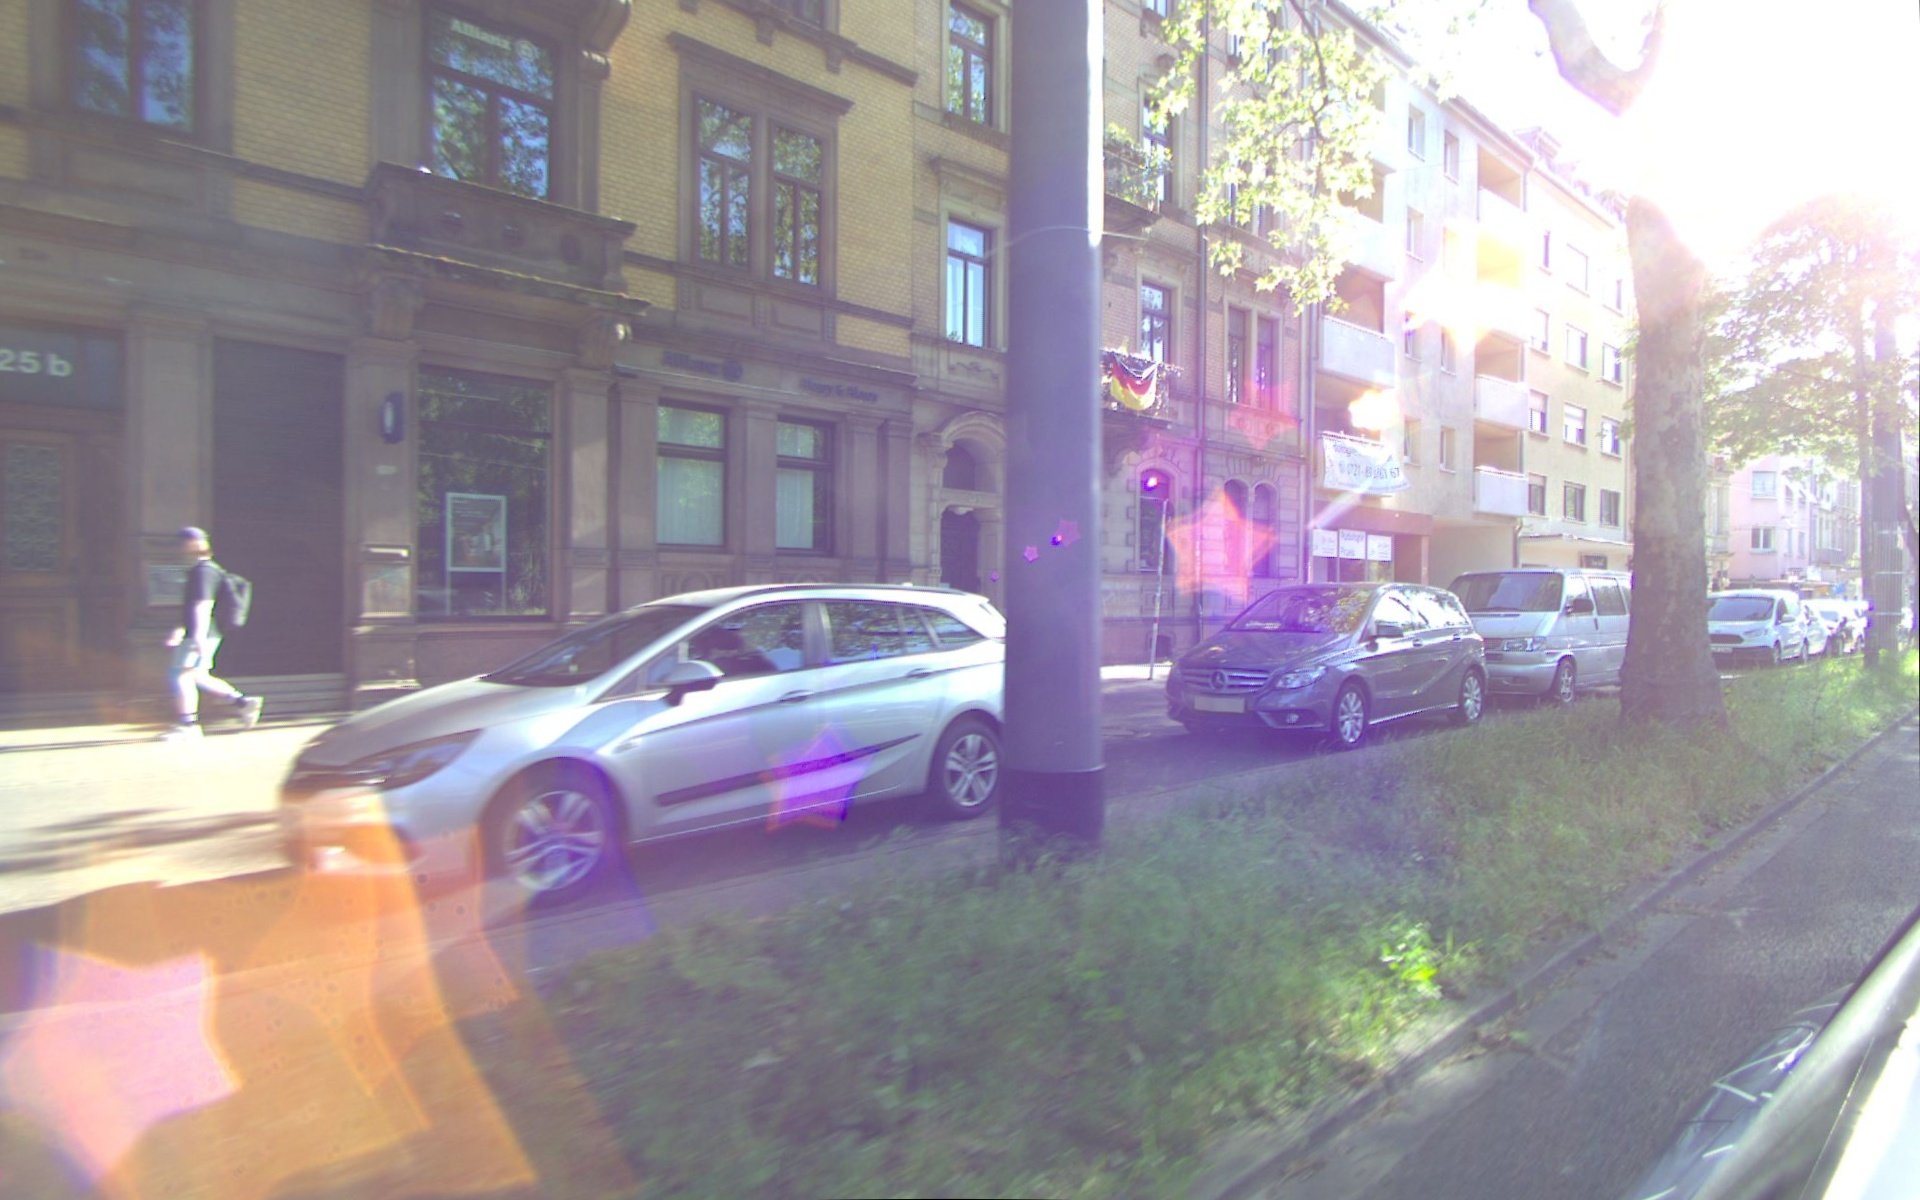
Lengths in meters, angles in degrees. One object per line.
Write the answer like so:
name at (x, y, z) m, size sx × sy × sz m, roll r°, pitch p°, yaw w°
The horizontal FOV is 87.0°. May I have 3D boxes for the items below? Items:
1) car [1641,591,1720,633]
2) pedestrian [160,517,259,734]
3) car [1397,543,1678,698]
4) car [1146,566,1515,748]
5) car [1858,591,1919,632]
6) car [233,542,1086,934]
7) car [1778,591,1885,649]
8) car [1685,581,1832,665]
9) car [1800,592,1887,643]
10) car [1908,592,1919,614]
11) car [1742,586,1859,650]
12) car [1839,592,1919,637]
car at (27.230, 0.413, 38.222) m, size 3.933 × 1.499 × 1.695 m, roll 0°, pitch 1°, yaw -43°
pedestrian at (-6.917, 0.211, 9.319) m, size 0.702 × 1.863 × 1.002 m, roll 0°, pitch 0°, yaw -38°
car at (8.232, 0.270, 14.239) m, size 4.713 × 1.839 × 1.868 m, roll 0°, pitch -2°, yaw -40°
car at (3.979, 0.491, 10.501) m, size 4.281 × 1.522 × 1.707 m, roll 0°, pitch -1°, yaw -41°
car at (35.184, 0.437, 37.962) m, size 4.096 × 1.440 × 1.699 m, roll 0°, pitch -2°, yaw -41°
car at (-1.413, 0.519, 6.011) m, size 4.589 × 1.485 × 1.679 m, roll -1°, pitch -1°, yaw -42°
car at (24.129, 0.539, 27.982) m, size 3.718 × 1.504 × 1.565 m, roll 0°, pitch -2°, yaw -39°
car at (17.627, 0.480, 22.281) m, size 4.066 × 1.690 × 1.629 m, roll 0°, pitch -2°, yaw -39°
car at (27.218, 0.530, 31.155) m, size 3.635 × 1.496 × 1.627 m, roll 1°, pitch -2°, yaw -43°
car at (69.027, 0.255, 72.154) m, size 3.930 × 1.537 × 1.738 m, roll 0°, pitch 2°, yaw -41°
car at (21.108, 0.449, 25.380) m, size 3.427 × 1.499 × 1.515 m, roll 0°, pitch -2°, yaw -38°
car at (31.554, 0.502, 34.695) m, size 3.836 × 1.453 × 1.591 m, roll 0°, pitch -2°, yaw -41°
